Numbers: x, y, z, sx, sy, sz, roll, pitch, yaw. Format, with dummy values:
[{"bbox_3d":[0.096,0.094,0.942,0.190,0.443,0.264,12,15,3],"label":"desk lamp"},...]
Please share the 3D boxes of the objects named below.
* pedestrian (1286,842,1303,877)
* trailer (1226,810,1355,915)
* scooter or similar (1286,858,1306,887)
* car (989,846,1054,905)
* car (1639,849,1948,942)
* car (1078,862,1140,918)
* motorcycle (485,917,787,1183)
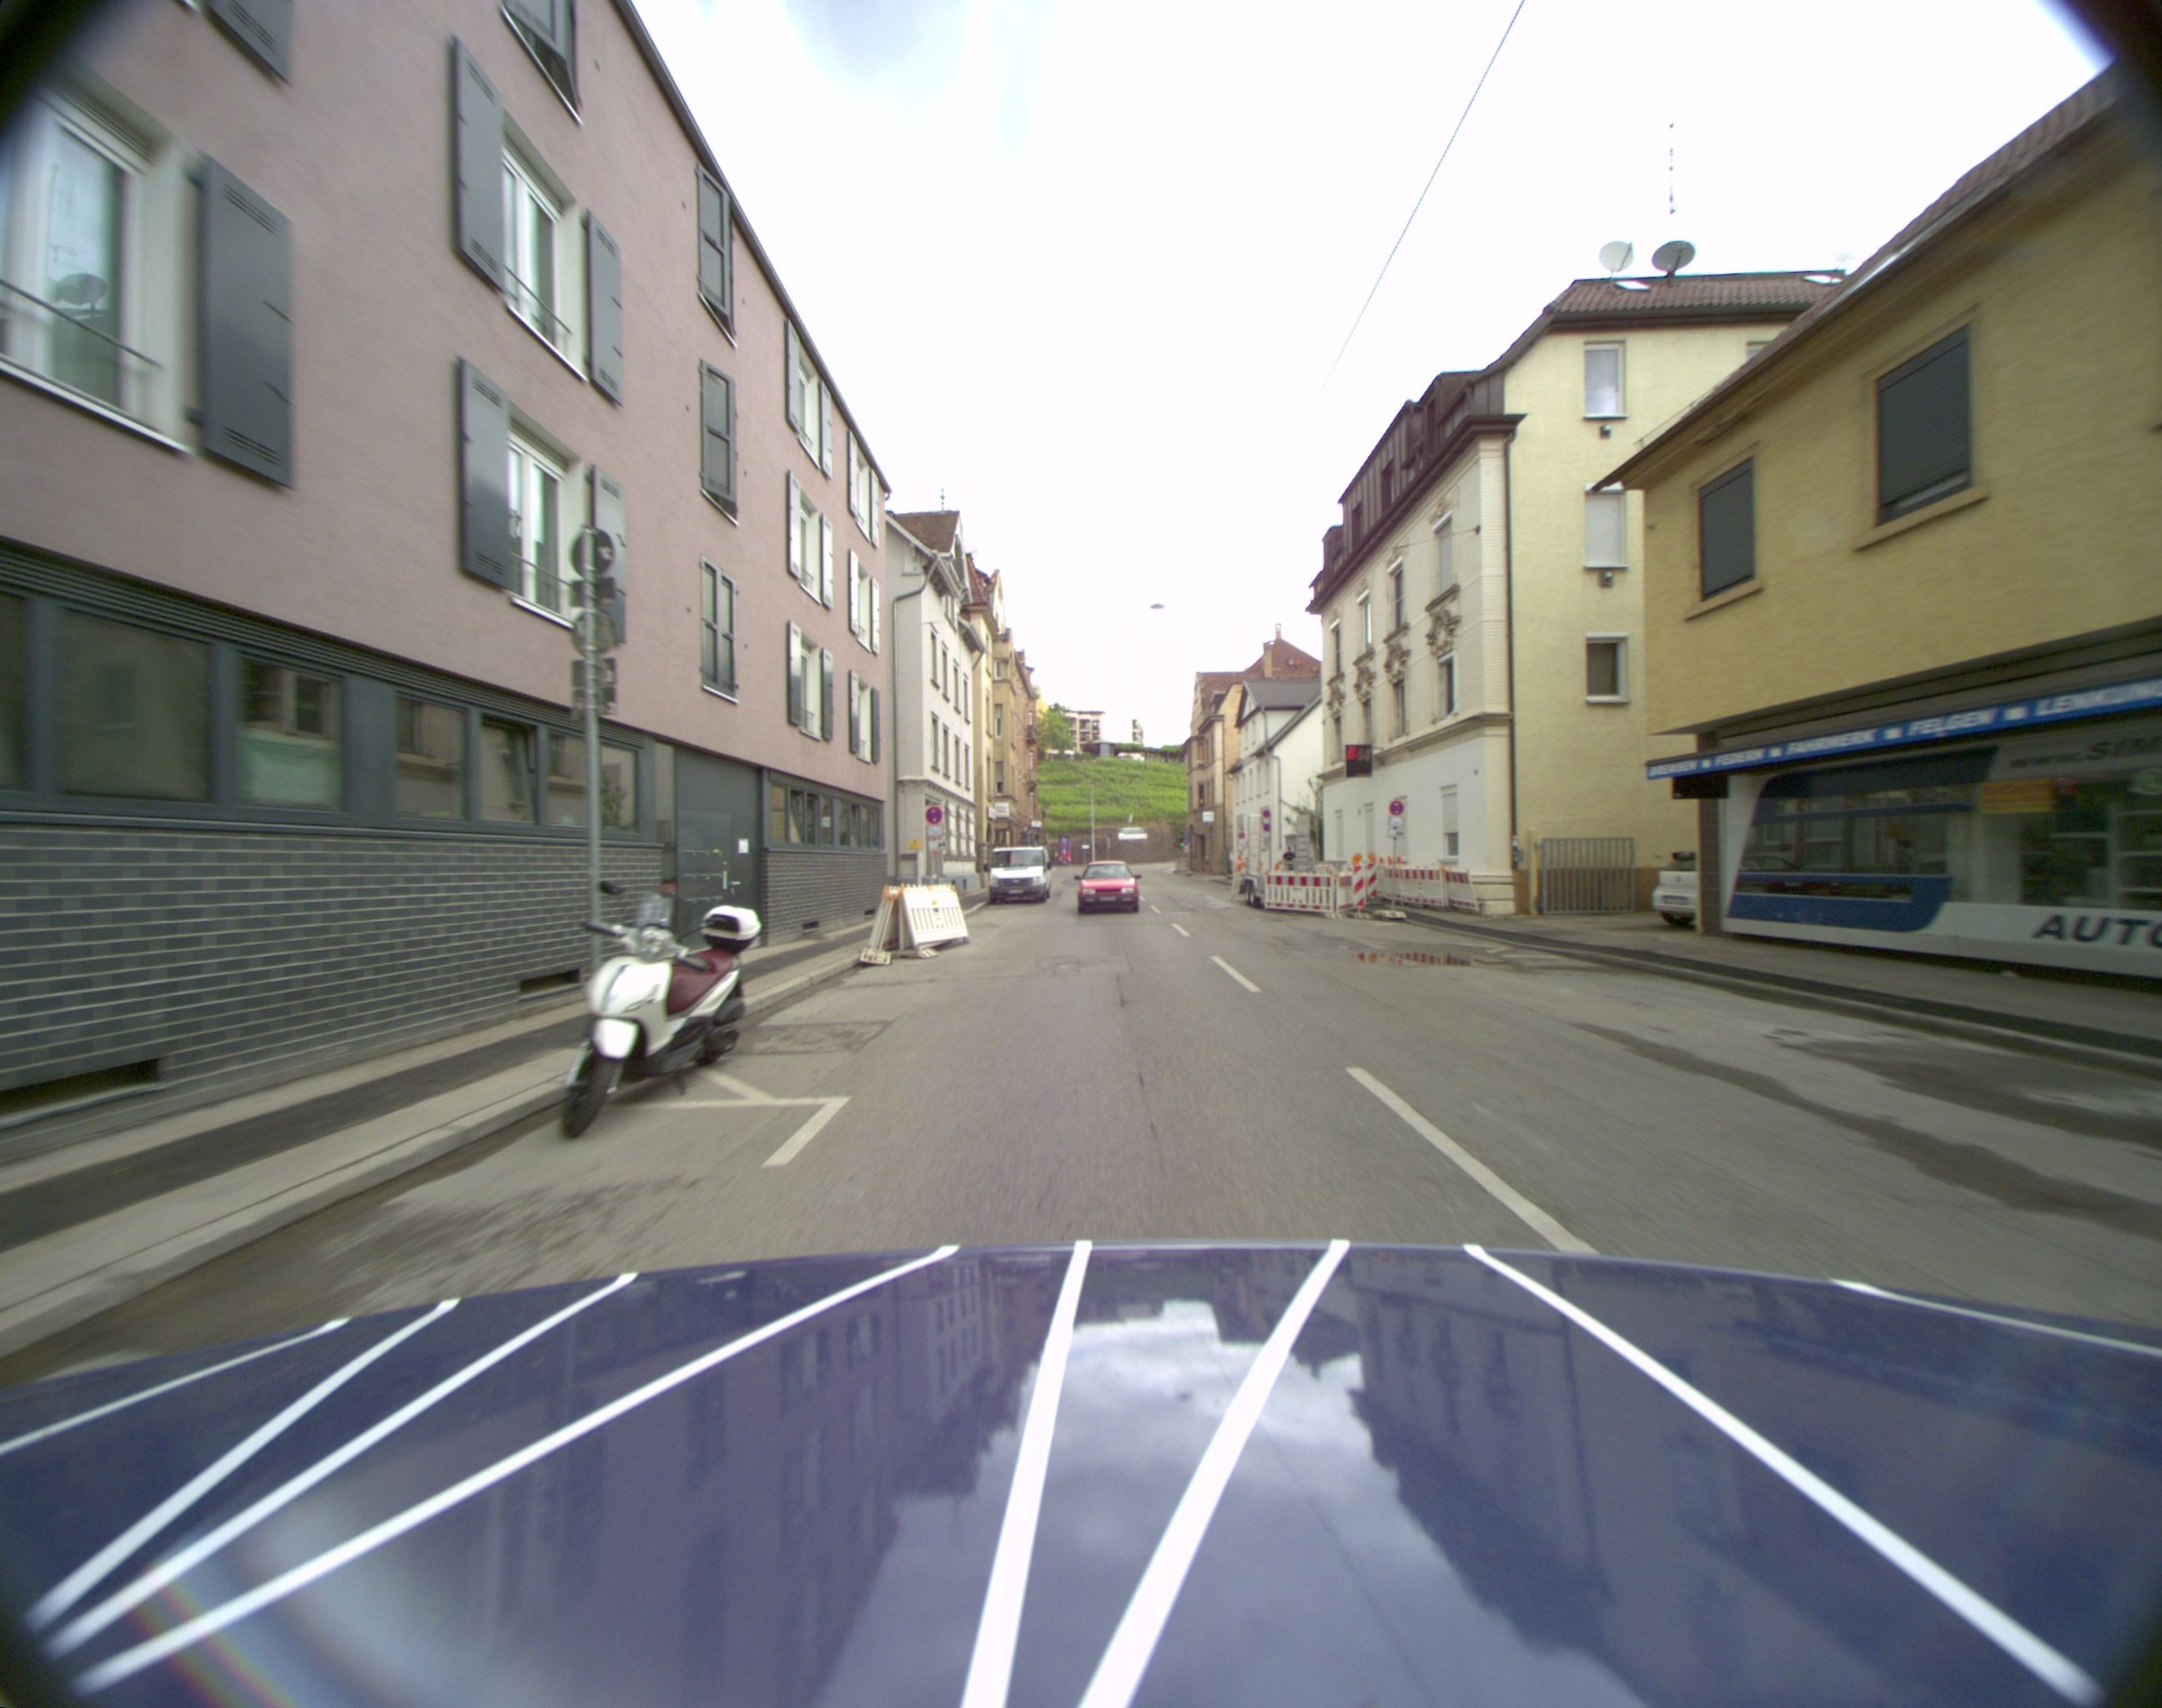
[{"bbox_3d":[9.840,0.246,34.993,0.602,1.557,0.607,-2,1,2],"label":"pedestrian"},{"bbox_3d":[6.174,0.205,23.361,2.450,2.788,6.303,0,0,3],"label":"trailer"},{"bbox_3d":[9.887,0.847,35.023,0.561,1.283,1.227,-2,1,1],"label":"scooter or similar"},{"bbox_3d":[-2.080,0.710,27.952,1.998,1.970,4.877,-1,0,0],"label":"car"},{"bbox_3d":[12.579,0.683,13.587,3.998,1.477,1.725,-1,1,-2],"label":"car"},{"bbox_3d":[0.822,0.963,21.996,1.626,1.387,4.000,-1,0,2],"label":"car"},{"bbox_3d":[-2.869,1.165,5.296,0.648,1.219,2.337,-2,0,1],"label":"motorcycle"}]
